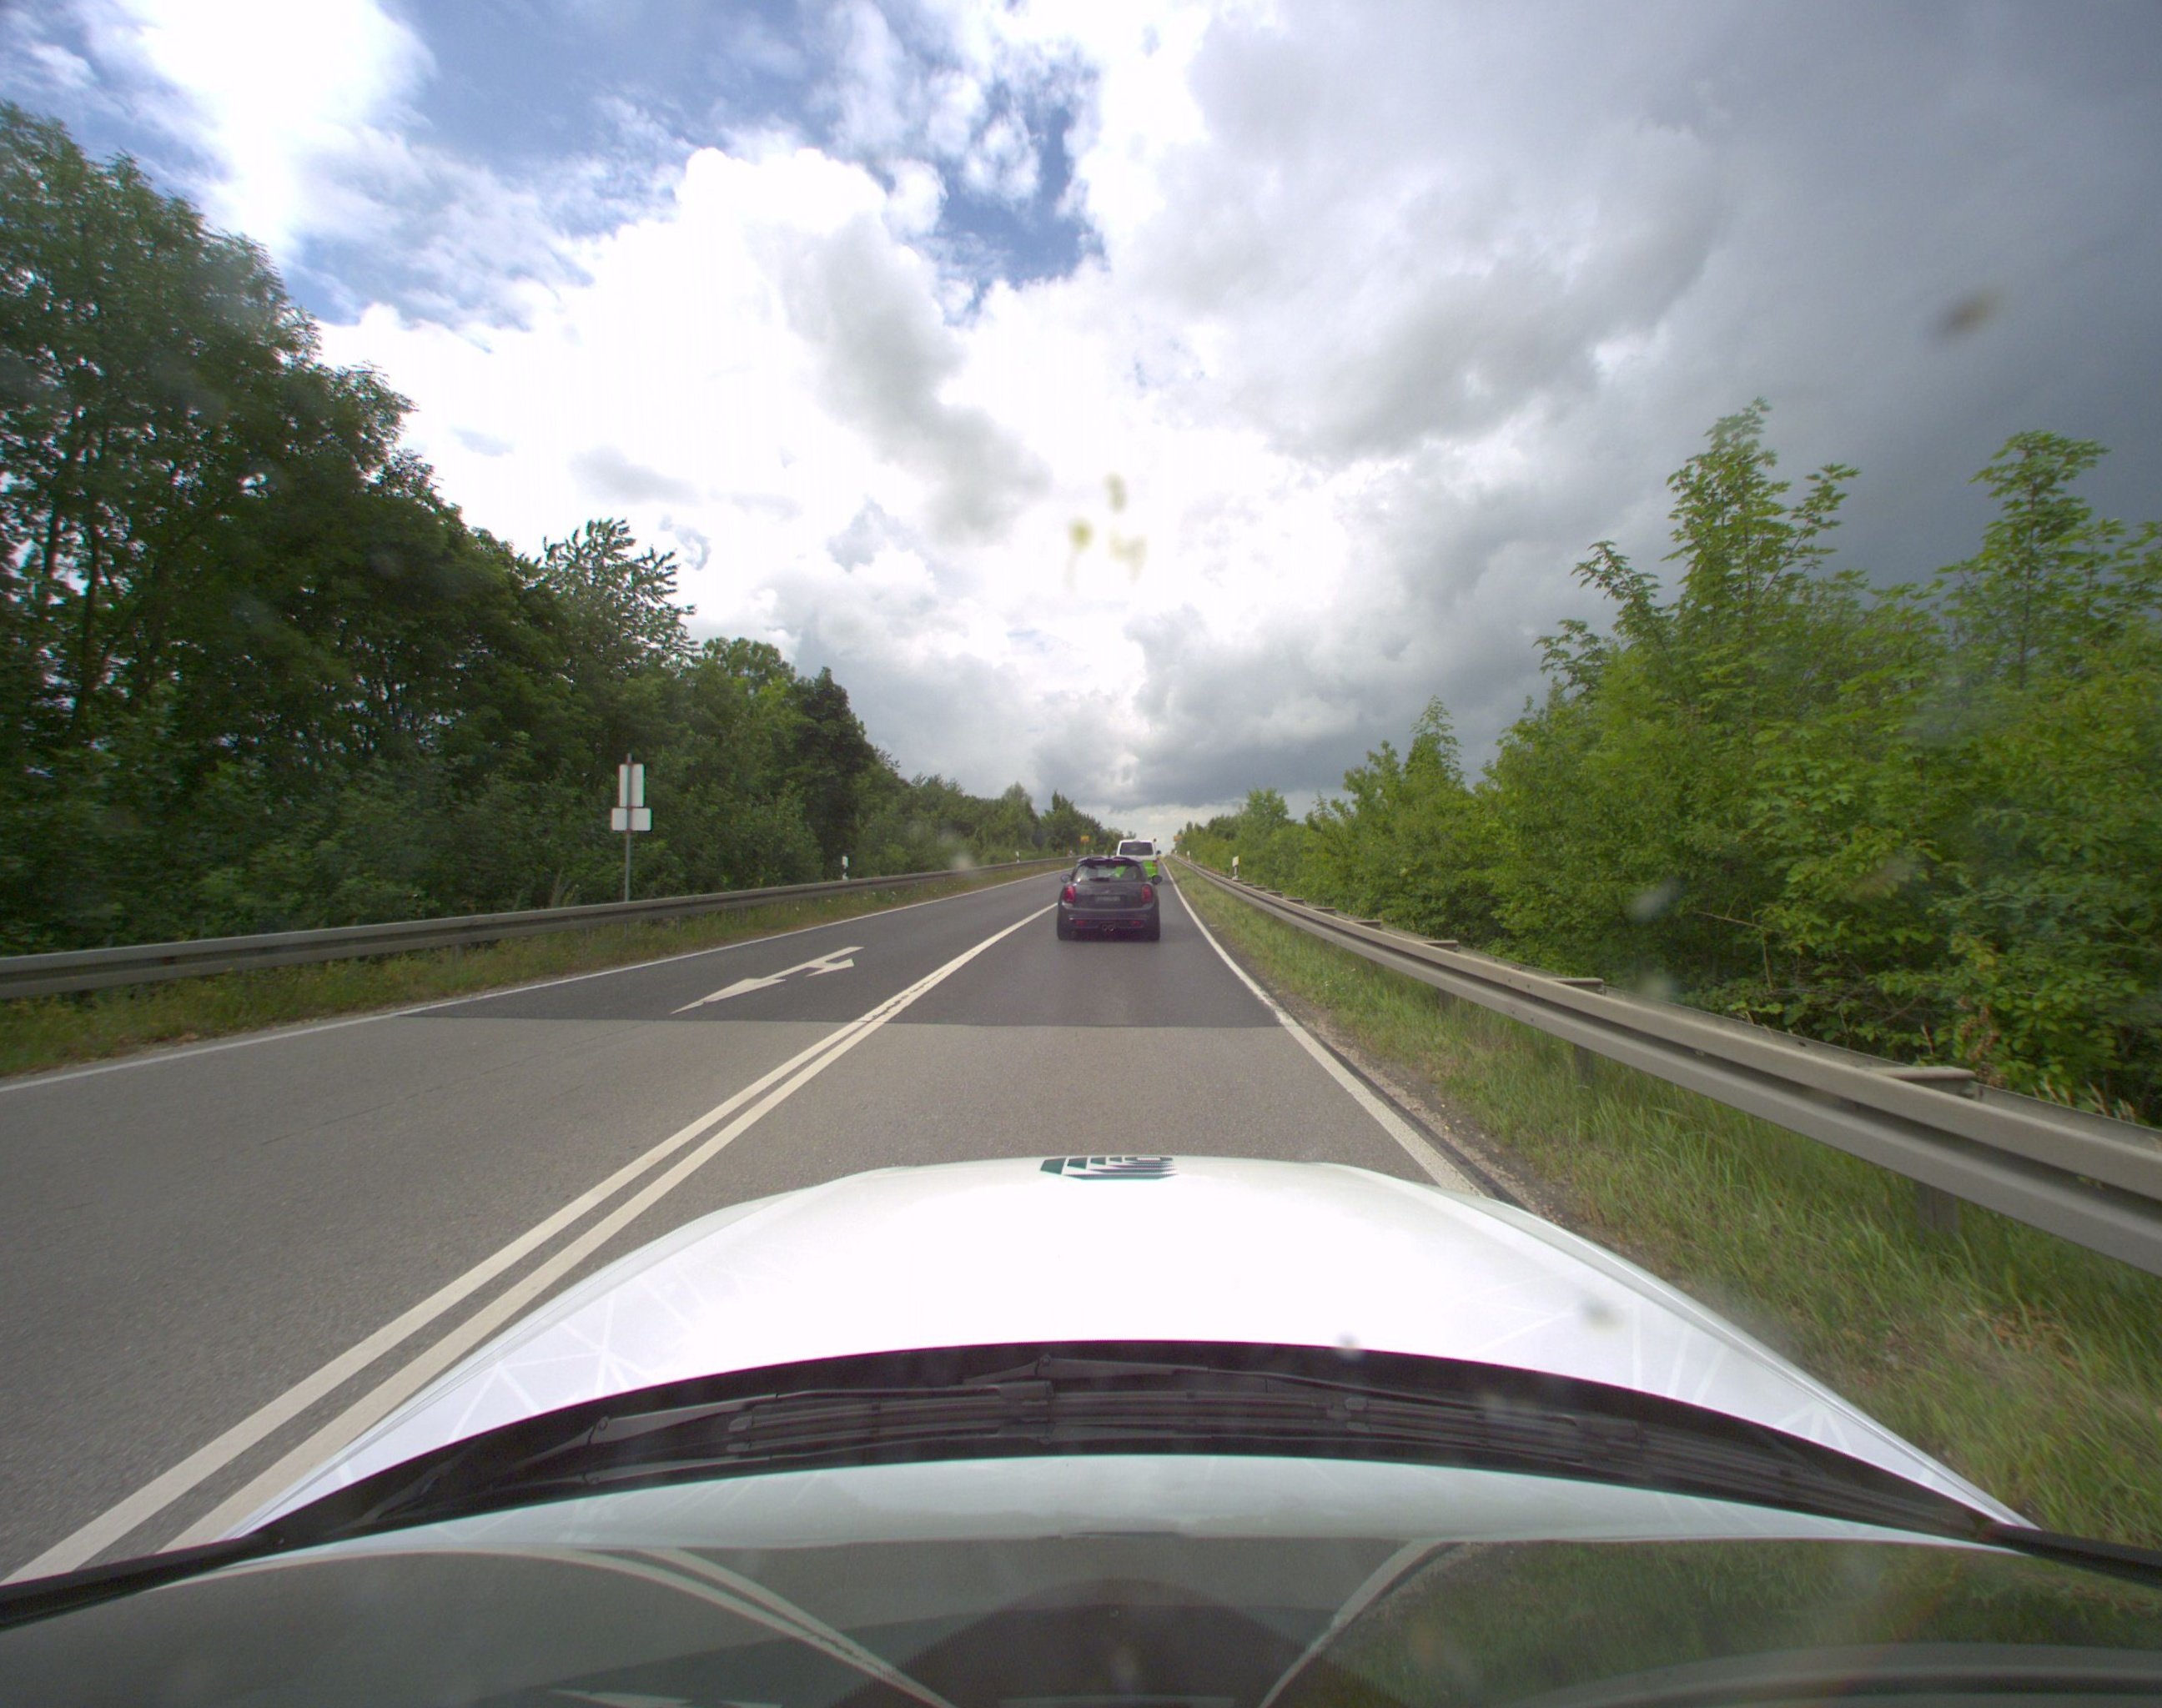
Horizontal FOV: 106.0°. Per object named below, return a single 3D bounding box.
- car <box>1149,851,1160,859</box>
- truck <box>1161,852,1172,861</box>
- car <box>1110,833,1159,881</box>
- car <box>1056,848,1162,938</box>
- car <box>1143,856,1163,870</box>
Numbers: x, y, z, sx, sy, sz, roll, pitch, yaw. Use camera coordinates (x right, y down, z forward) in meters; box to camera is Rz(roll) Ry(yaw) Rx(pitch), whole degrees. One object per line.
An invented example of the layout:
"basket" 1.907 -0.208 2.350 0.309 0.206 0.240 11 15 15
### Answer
"car" 12.391 0.165 137.823 1.685 1.319 4.008 -2 0 7
"truck" 24.405 0.695 231.553 2.894 2.372 10.473 -3 0 7
"car" 2.442 0.124 36.422 2.012 2.013 4.007 1 0 6
"car" 0.473 0.616 15.213 1.726 1.455 4.000 0 0 0
"car" 6.987 0.902 78.442 1.685 1.222 4.008 -2 -2 7
